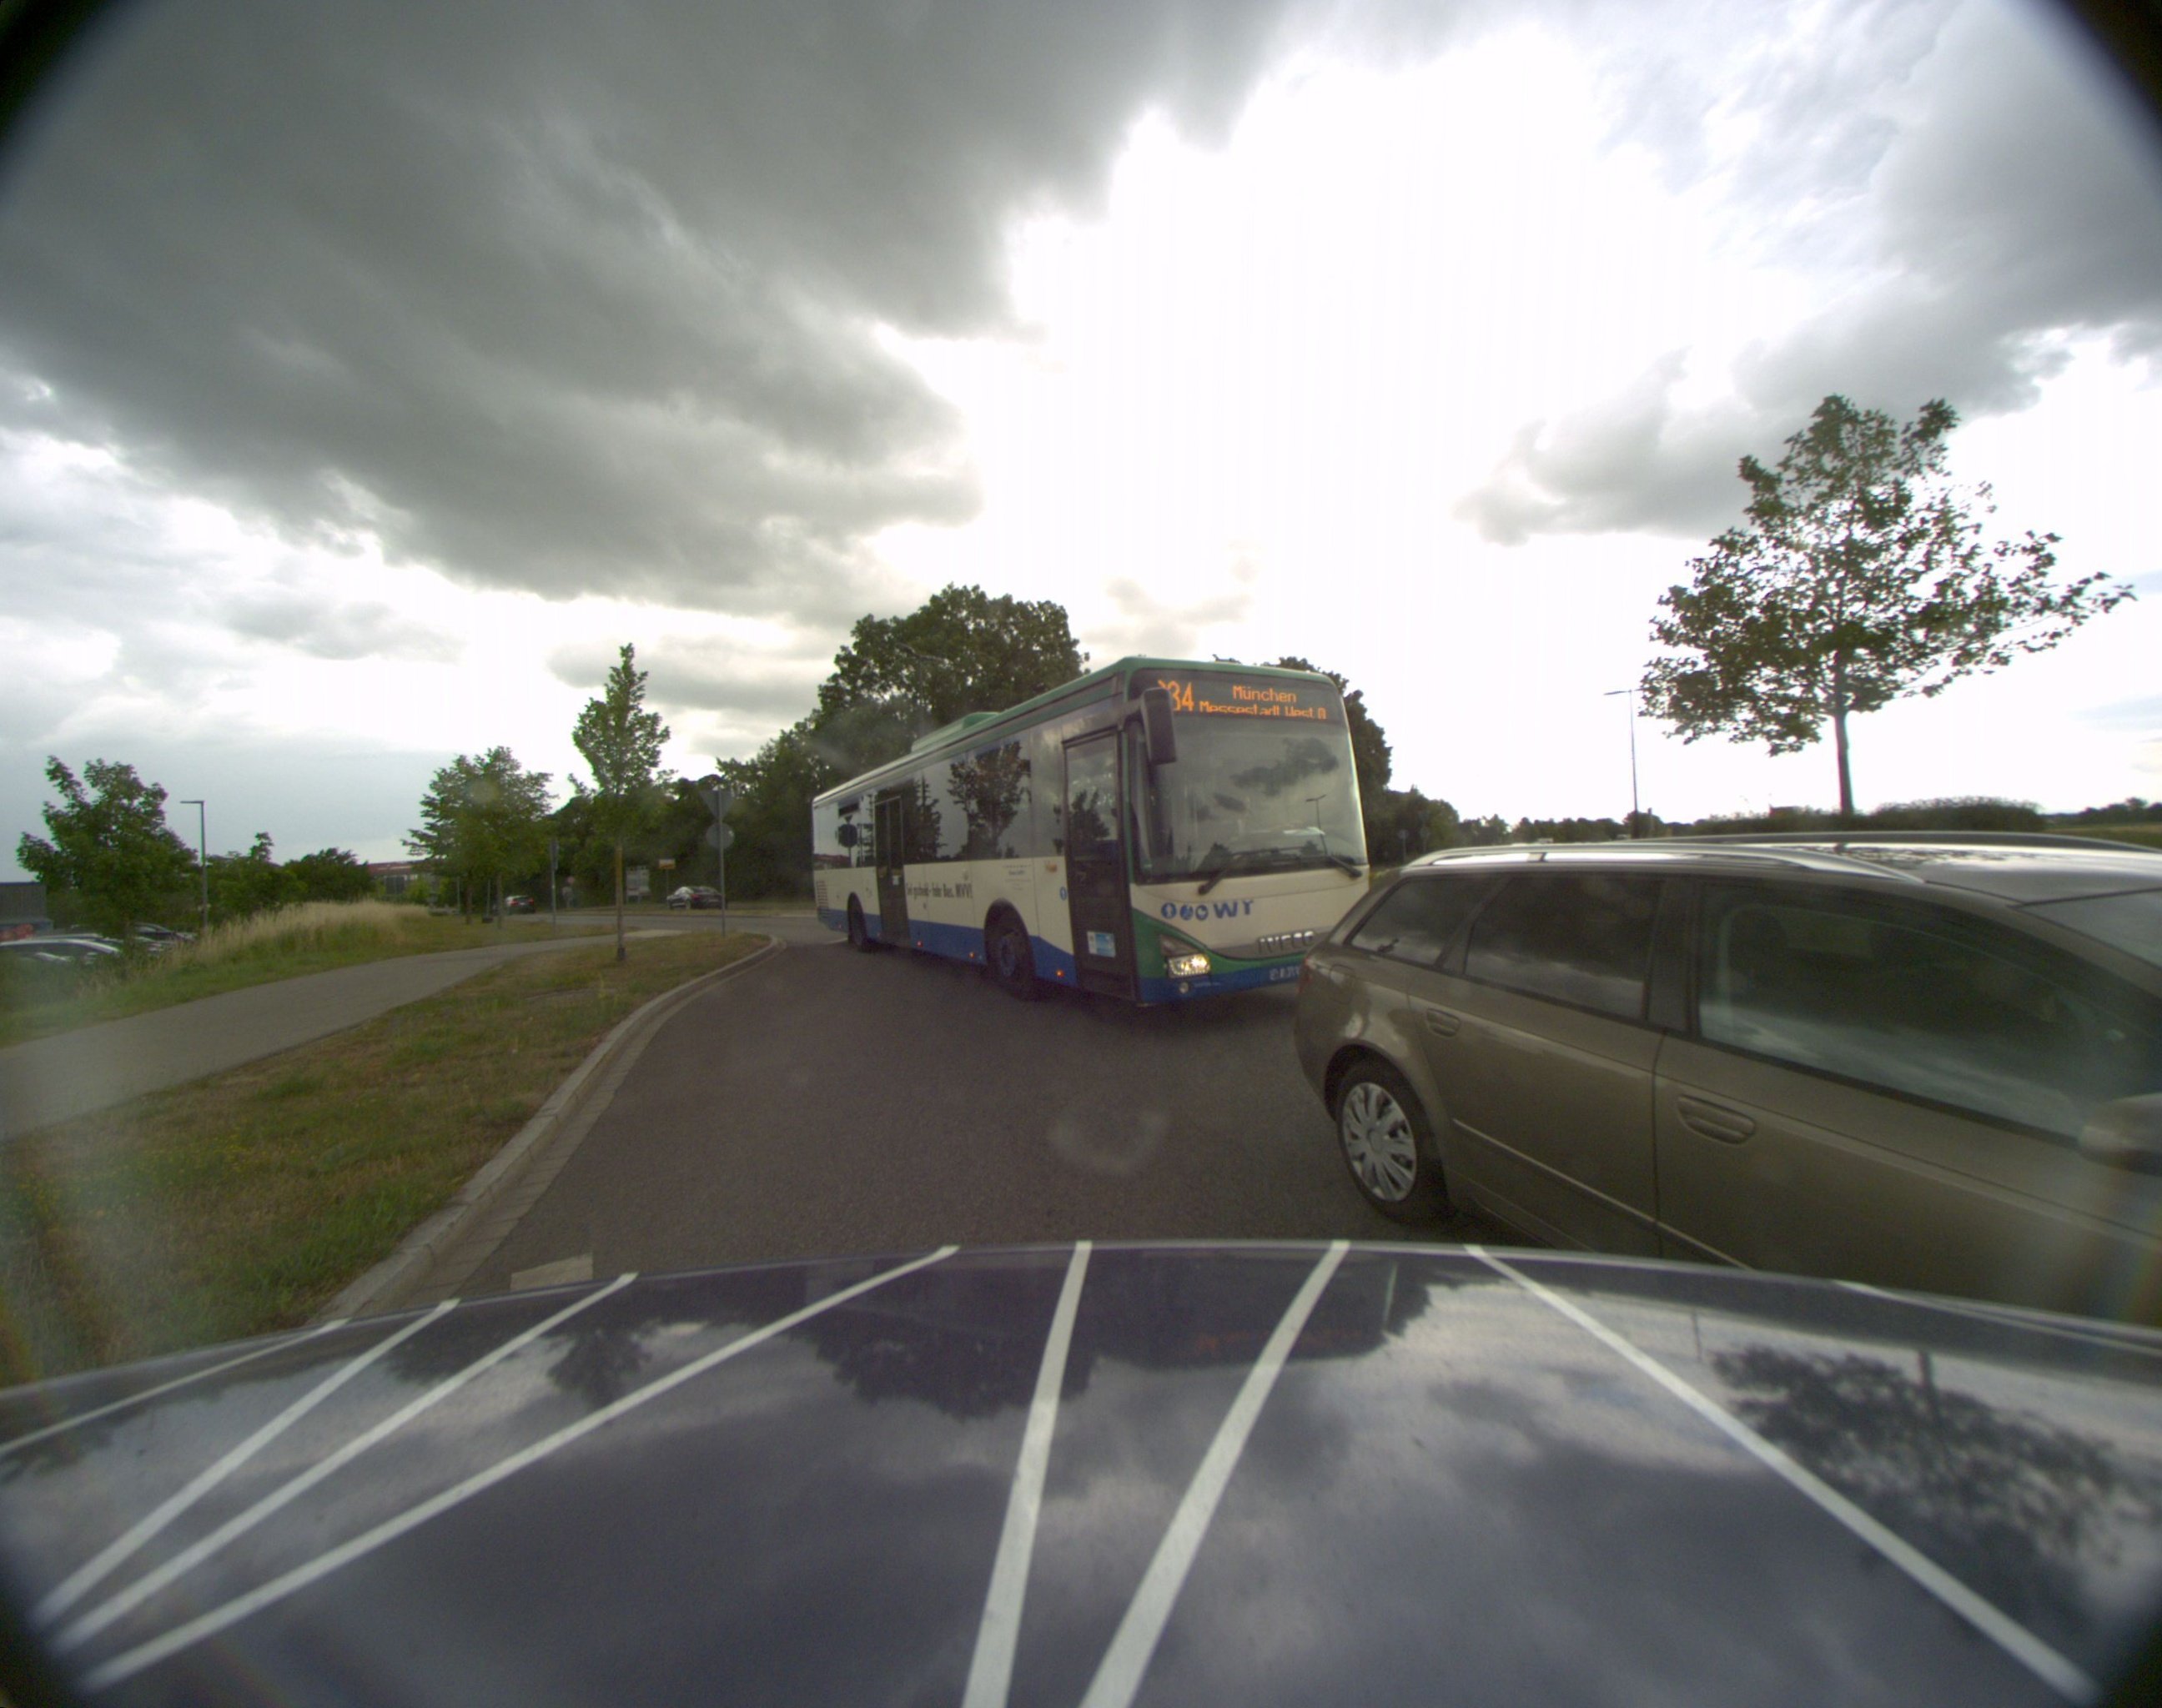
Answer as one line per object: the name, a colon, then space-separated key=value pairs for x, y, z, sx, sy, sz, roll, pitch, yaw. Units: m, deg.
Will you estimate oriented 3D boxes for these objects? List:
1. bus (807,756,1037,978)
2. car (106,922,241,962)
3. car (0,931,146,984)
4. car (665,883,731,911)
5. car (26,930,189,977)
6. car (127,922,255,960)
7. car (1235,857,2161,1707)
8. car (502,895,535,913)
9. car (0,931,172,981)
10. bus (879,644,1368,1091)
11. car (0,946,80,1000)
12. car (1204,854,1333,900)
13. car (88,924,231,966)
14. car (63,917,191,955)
bus: x=-3.206 y=0.168 z=14.111 sx=2.529 sy=3.239 sz=5.447 roll=-2 pitch=1 yaw=-30
car: x=-44.316 y=4.254 z=37.254 sx=3.896 sy=1.455 sz=1.693 roll=-2 pitch=0 yaw=-35
car: x=-37.146 y=3.748 z=27.450 sx=3.896 sy=1.455 sz=1.693 roll=-2 pitch=0 yaw=-35
car: x=-19.941 y=2.218 z=39.486 sx=1.835 sy=1.299 sz=4.104 roll=-1 pitch=-2 yaw=-45
car: x=-41.139 y=4.178 z=32.255 sx=3.896 sy=1.455 sz=1.693 roll=-2 pitch=0 yaw=-35
car: x=-45.197 y=4.386 z=38.700 sx=3.896 sy=1.455 sz=1.693 roll=-2 pitch=0 yaw=-35
car: x=2.255 y=0.792 z=1.847 sx=1.784 sy=1.457 sz=4.534 roll=-3 pitch=1 yaw=-15
car: x=-49.236 y=4.355 z=66.472 sx=3.572 sy=1.496 sz=1.647 roll=-3 pitch=0 yaw=42
car: x=-39.080 y=3.958 z=29.886 sx=3.896 sy=1.455 sz=1.693 roll=-2 pitch=0 yaw=-35
bus: x=-0.191 y=0.085 z=8.965 sx=2.529 sy=3.239 sz=6.533 roll=-2 pitch=1 yaw=-30
car: x=-34.723 y=3.854 z=23.673 sx=3.896 sy=1.455 sz=1.693 roll=-2 pitch=0 yaw=-35
car: x=6.668 y=0.804 z=27.271 sx=4.080 sy=1.422 sz=1.762 roll=-2 pitch=0 yaw=-4
car: x=-42.878 y=4.184 z=35.511 sx=3.896 sy=1.455 sz=1.693 roll=-2 pitch=0 yaw=-35
car: x=-49.051 y=4.183 z=39.216 sx=1.879 sy=1.435 sz=4.008 roll=-2 pitch=0 yaw=40
